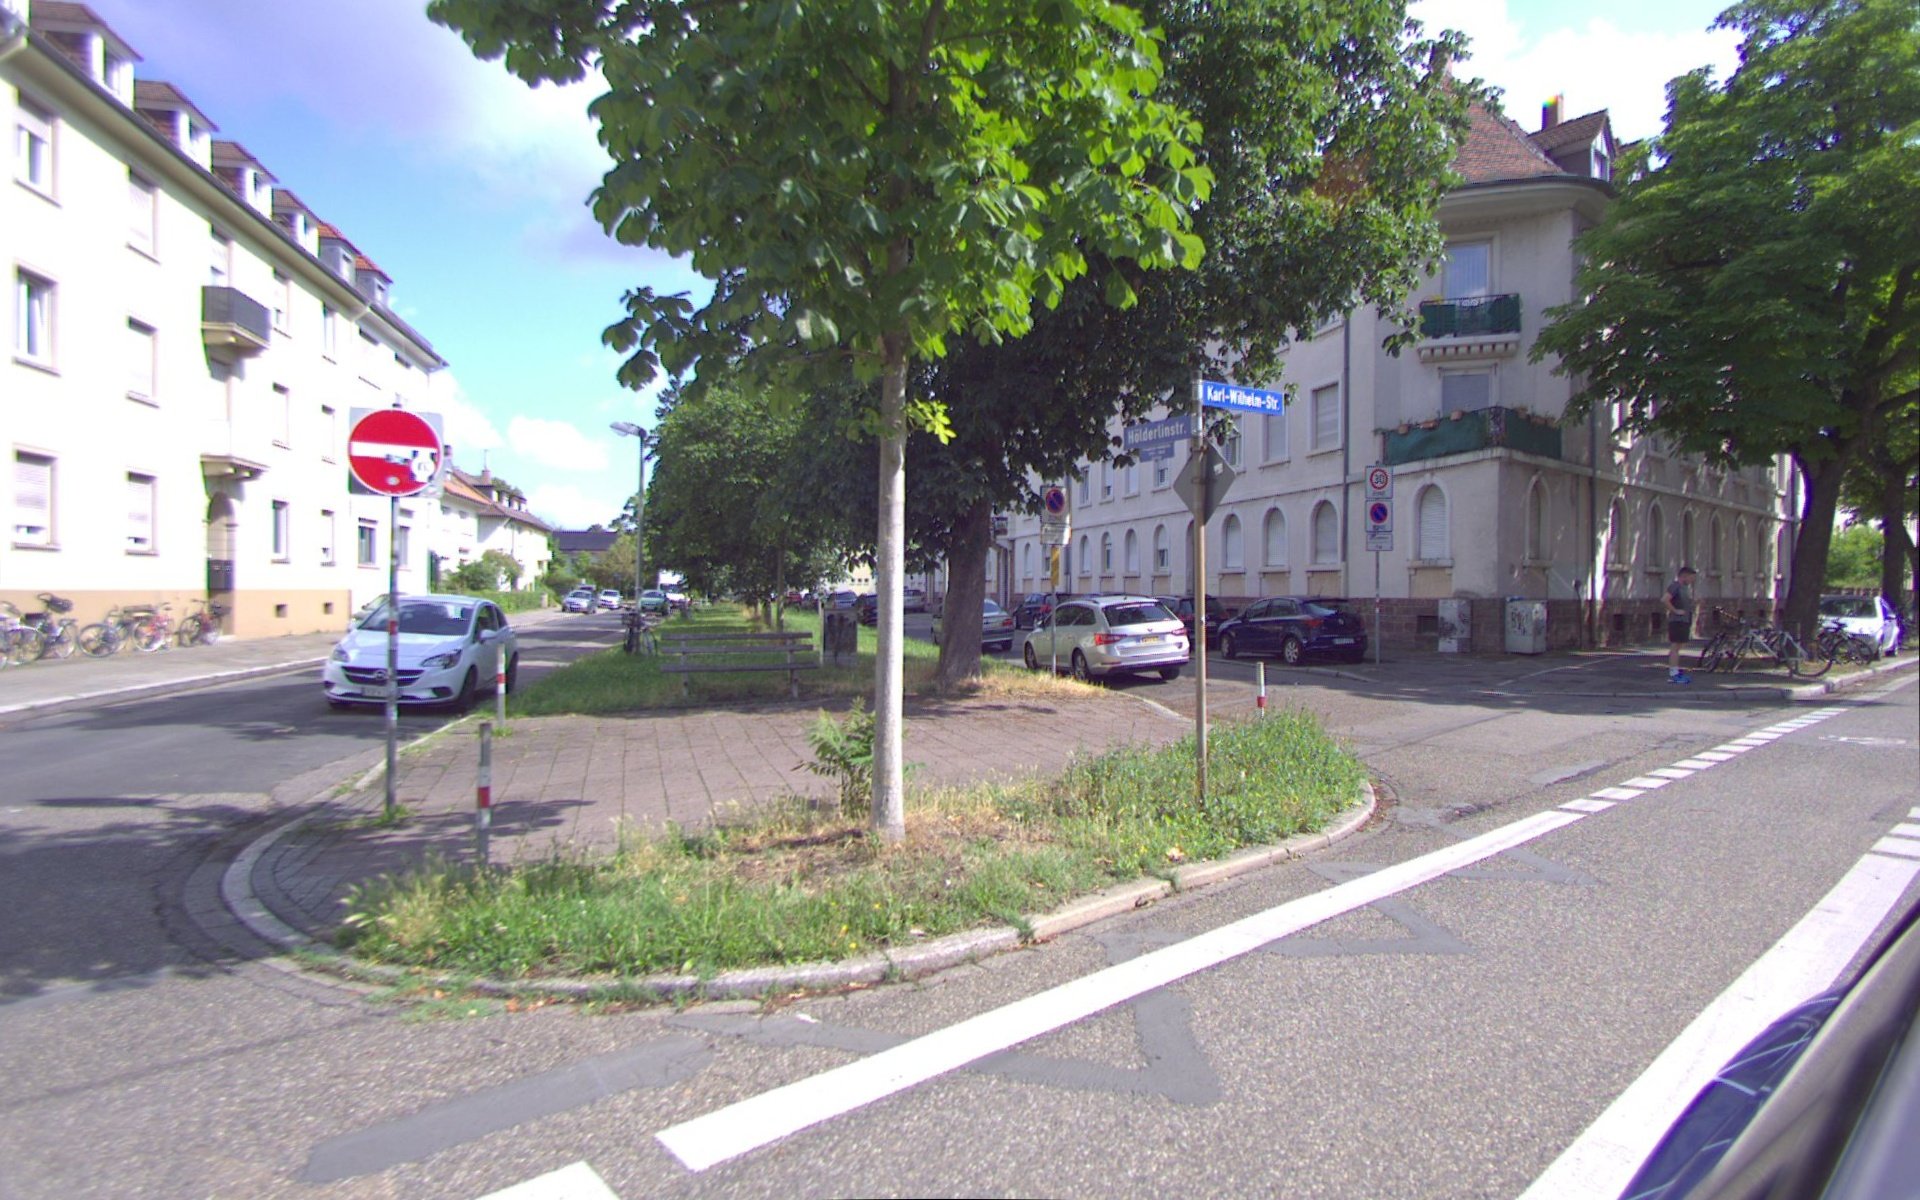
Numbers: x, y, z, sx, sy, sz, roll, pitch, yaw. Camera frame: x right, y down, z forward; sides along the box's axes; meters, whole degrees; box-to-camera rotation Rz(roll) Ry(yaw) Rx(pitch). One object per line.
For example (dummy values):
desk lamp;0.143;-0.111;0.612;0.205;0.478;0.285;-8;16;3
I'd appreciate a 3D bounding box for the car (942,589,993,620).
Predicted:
car;0.326;0.205;52.249;1.676;1.499;3.751;0;1;-15

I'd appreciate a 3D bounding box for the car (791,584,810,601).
car;-18.172;-0.902;115.202;1.812;1.920;3.751;0;1;-15

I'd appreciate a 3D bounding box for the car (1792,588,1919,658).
car;21.053;0.486;23.753;3.699;1.448;1.670;-1;3;-40

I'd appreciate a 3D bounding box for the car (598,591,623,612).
car;-27.578;0.120;79.939;1.676;1.576;3.879;0;1;-15

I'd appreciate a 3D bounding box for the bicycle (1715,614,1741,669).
bicycle;14.034;0.735;18.481;0.258;0.911;1.746;1;1;41

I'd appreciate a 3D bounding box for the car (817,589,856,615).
car;-7.074;0.111;57.613;1.676;1.417;3.751;0;1;-15

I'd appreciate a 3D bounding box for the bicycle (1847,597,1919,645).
bicycle;24.822;0.539;26.806;0.503;1.190;1.946;-1;2;-28

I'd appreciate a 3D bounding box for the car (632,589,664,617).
car;-18.605;0.151;60.419;1.676;1.576;3.879;0;1;-15

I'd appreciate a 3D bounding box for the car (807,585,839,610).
car;-9.332;-0.183;68.835;1.676;1.665;3.751;0;1;-15

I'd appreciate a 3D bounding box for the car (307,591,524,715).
car;-7.441;0.619;14.250;1.618;1.428;4.008;-1;1;-12

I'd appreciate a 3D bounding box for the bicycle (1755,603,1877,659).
bicycle;17.702;0.620;20.969;0.395;1.085;1.907;0;1;-39

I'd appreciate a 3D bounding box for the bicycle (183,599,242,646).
bicycle;-18.184;0.522;24.652;0.525;1.047;2.138;0;1;-18

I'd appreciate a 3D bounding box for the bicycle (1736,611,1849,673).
bicycle;14.449;0.713;17.594;0.254;0.995;1.495;0;1;-38

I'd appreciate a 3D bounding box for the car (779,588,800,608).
car;-16.634;-0.228;98.867;1.676;1.891;3.751;0;1;-15

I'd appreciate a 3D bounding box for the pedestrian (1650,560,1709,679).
pedestrian;11.664;0.291;16.397;0.864;1.858;0.611;-2;2;-42

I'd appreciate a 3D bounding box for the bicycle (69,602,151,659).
bicycle;-17.081;0.589;20.390;0.525;1.047;2.138;0;1;-18

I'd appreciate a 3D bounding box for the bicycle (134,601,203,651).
bicycle;-17.614;0.552;22.562;0.525;1.047;2.138;0;1;-18

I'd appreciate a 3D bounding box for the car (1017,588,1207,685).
car;2.573;0.550;18.403;1.830;1.494;4.584;-1;1;-13

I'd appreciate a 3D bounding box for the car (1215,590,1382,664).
car;7.217;0.517;21.940;1.673;1.424;3.572;-1;1;-17

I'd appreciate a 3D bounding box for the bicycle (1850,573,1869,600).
bicycle;41.375;-0.626;46.526;1.673;1.227;0.413;0;0;-40

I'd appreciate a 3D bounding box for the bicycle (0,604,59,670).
bicycle;-16.082;0.612;17.059;0.525;1.047;2.138;0;1;-18

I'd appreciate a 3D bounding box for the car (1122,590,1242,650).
car;5.871;0.483;27.157;1.628;1.442;3.727;-1;1;-14

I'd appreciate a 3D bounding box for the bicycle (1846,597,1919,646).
bicycle;24.453;0.561;26.436;0.503;1.190;1.903;-1;2;-28

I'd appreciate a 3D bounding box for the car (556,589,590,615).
car;-25.048;0.113;65.539;1.676;1.576;3.879;0;1;-15

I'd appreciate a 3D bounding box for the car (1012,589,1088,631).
car;3.339;0.326;38.283;1.676;1.499;3.751;0;1;-15

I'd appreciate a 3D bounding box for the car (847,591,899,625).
car;-3.876;0.319;44.587;1.676;1.417;3.751;0;1;-15

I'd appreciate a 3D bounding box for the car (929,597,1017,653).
car;0.287;0.633;28.312;1.553;1.397;3.829;-1;1;-13

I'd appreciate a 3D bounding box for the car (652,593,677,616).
car;-21.634;0.309;74.182;1.676;1.576;3.879;0;1;-15

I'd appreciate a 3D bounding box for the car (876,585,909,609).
car;-4.865;-0.265;72.538;1.676;1.665;3.751;0;1;-15

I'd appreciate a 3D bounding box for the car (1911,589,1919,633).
car;33.981;0.390;34.624;4.322;1.426;1.848;-1;3;-44

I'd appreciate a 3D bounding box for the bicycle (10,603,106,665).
bicycle;-16.672;0.597;18.755;0.525;1.047;2.138;0;1;-18

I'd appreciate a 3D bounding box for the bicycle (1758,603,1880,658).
bicycle;17.994;0.624;21.239;0.395;1.085;1.907;0;1;-39
